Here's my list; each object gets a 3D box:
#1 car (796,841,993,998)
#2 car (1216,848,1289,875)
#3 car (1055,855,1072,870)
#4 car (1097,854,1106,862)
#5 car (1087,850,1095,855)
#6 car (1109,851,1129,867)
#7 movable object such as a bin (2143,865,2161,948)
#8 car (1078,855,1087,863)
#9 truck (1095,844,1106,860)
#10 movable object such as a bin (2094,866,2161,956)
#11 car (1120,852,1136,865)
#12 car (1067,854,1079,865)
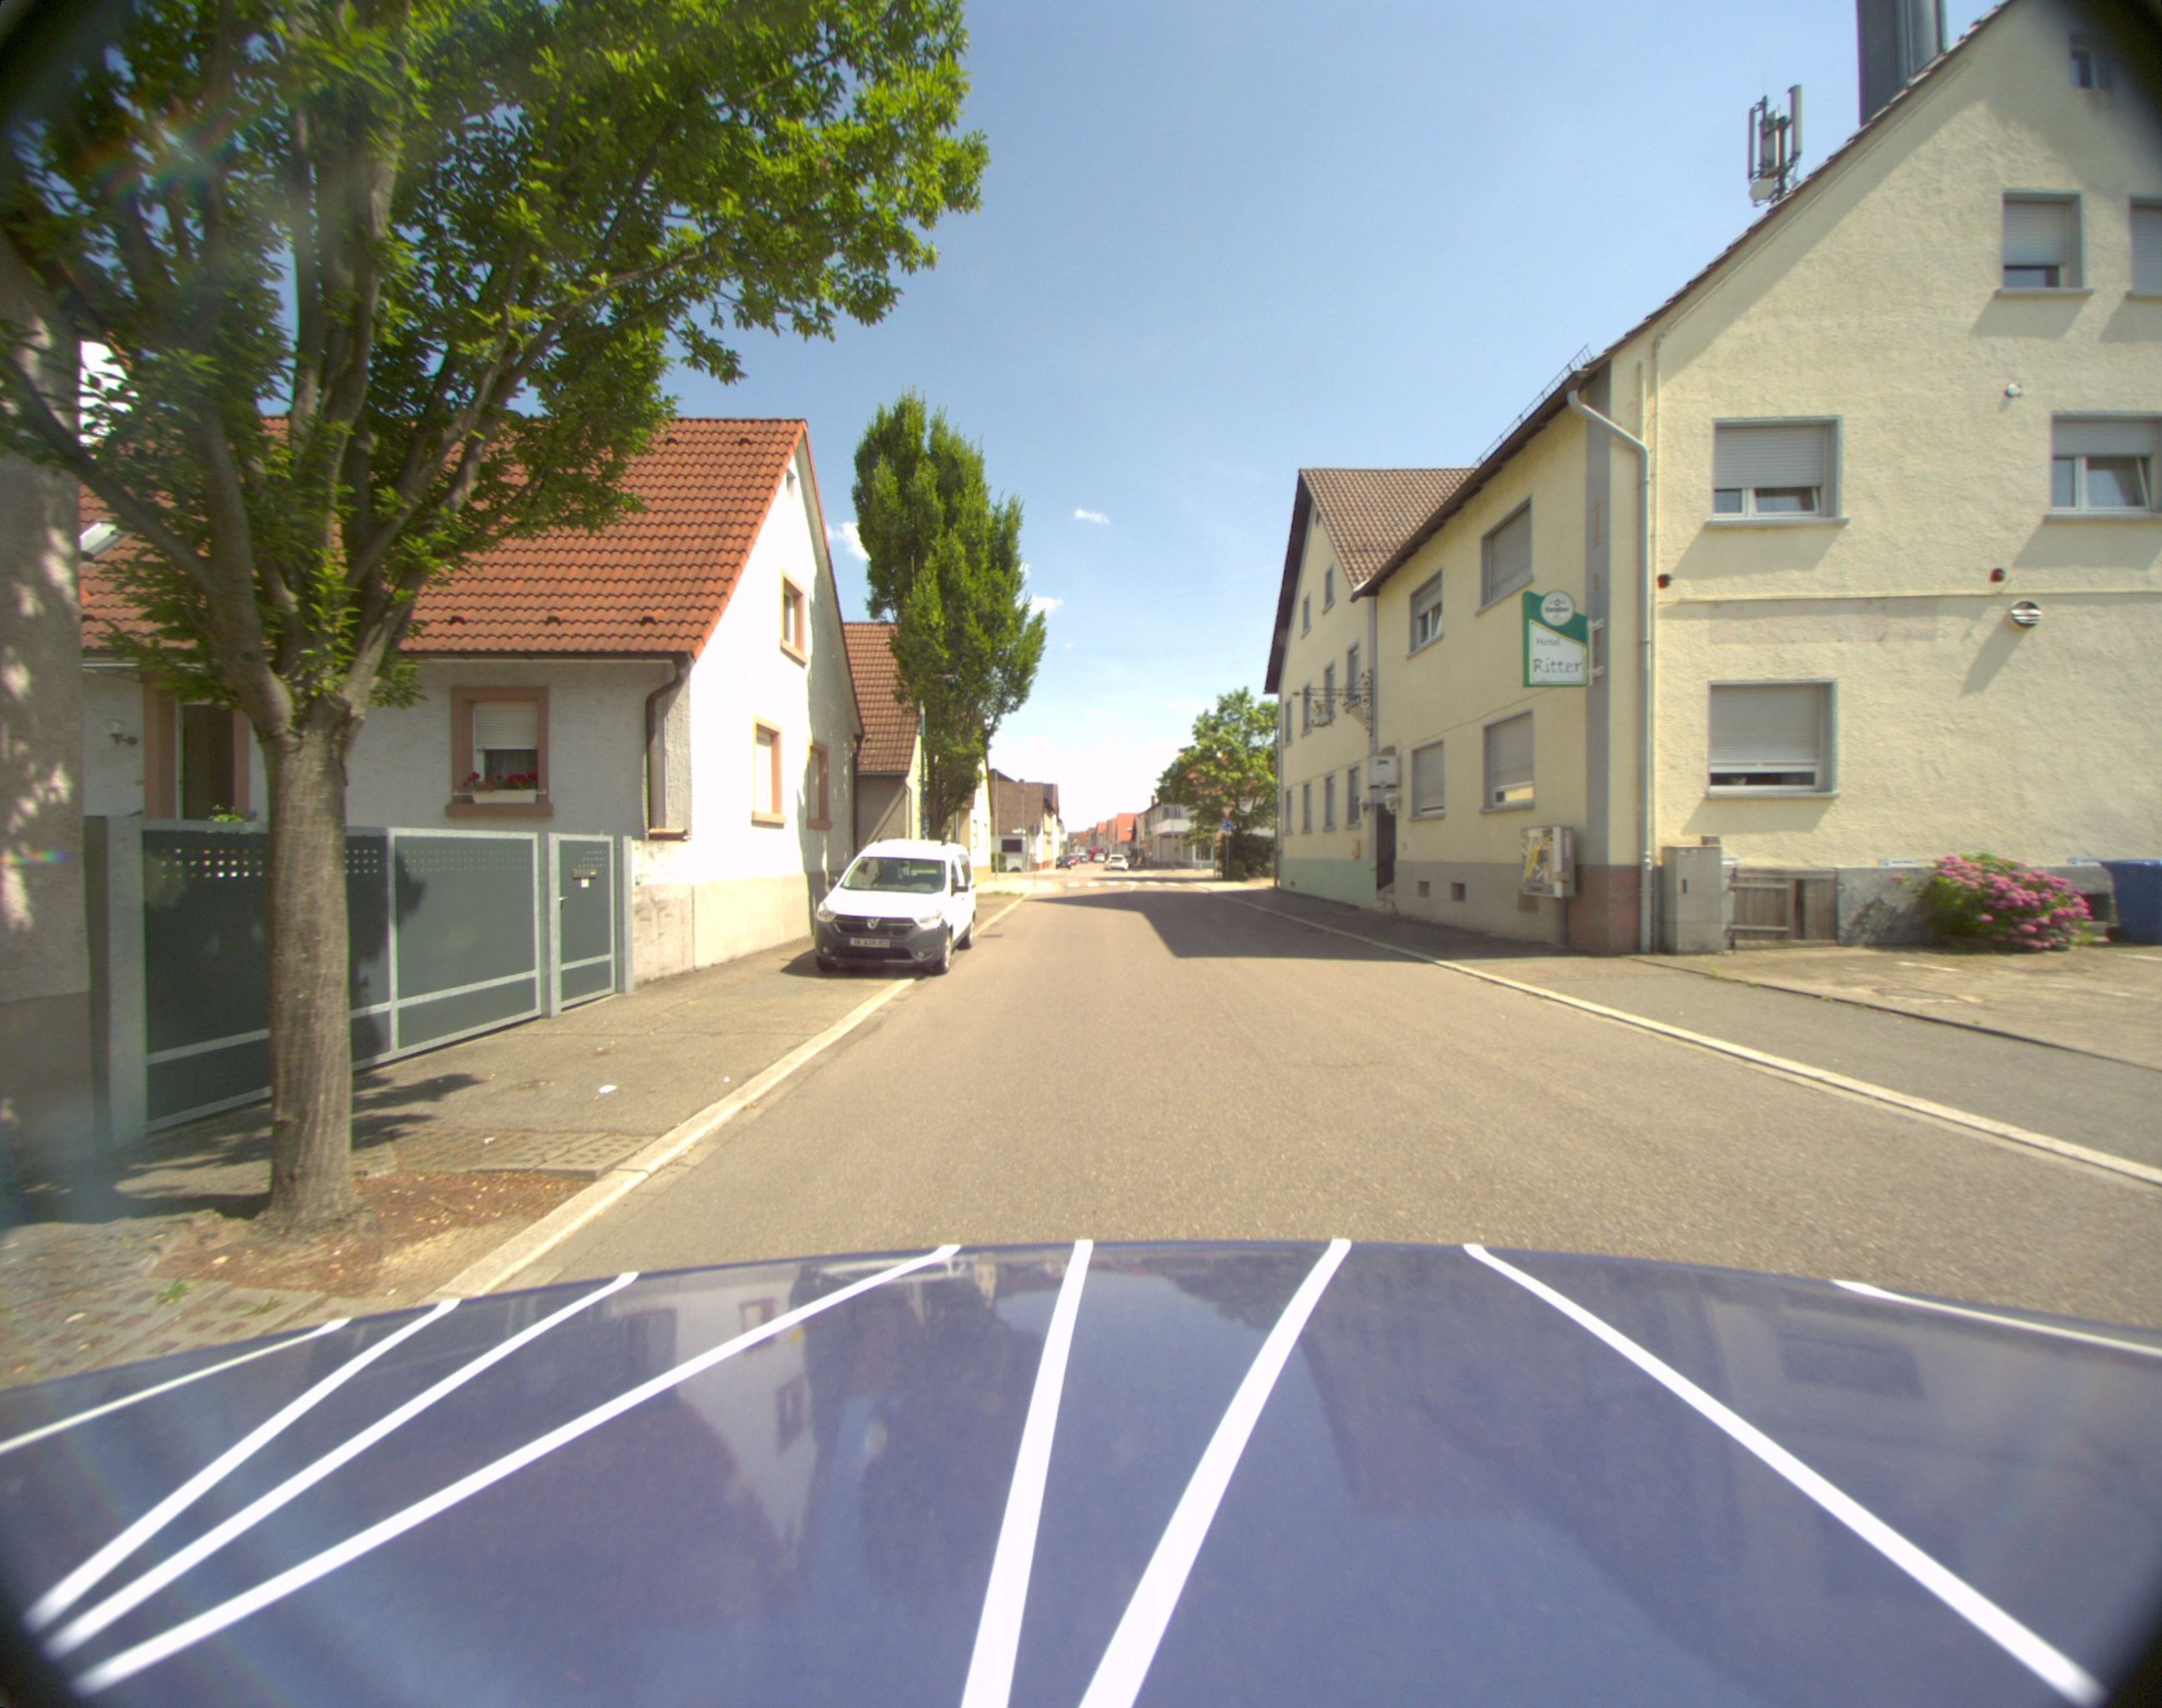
[{"bbox_3d":[-2.527,0.779,11.533,1.692,1.832,4.764,2,0,1],"label":"car"},{"bbox_3d":[11.439,0.487,50.734,4.449,1.609,1.806,-2,1,-15],"label":"car"},{"bbox_3d":[-1.823,0.908,79.781,1.598,1.385,4.170,-1,-2,1],"label":"car"},{"bbox_3d":[3.723,0.693,137.147,1.726,1.385,4.170,-1,-2,2],"label":"car"},{"bbox_3d":[2.810,-0.348,217.225,1.727,1.385,4.166,-1,0,-4],"label":"car"},{"bbox_3d":[3.453,0.410,68.039,1.597,1.385,4.169,-1,0,5],"label":"car"},{"bbox_3d":[14.200,0.676,9.608,0.579,1.066,0.680,-2,1,2],"label":"movable object such as a bin"},{"bbox_3d":[0.268,0.820,132.861,1.598,1.385,4.168,-1,0,0],"label":"car"},{"bbox_3d":[4.341,-0.501,172.006,1.999,3.420,7.073,-2,1,-2],"label":"truck"},{"bbox_3d":[13.485,0.702,9.560,0.579,1.066,0.680,-2,1,2],"label":"movable object such as a bin"},{"bbox_3d":[5.510,0.505,90.062,1.726,1.385,4.170,-1,-2,2],"label":"car"},{"bbox_3d":[-1.088,0.782,108.273,1.598,1.385,4.170,-1,-2,1],"label":"car"}]
